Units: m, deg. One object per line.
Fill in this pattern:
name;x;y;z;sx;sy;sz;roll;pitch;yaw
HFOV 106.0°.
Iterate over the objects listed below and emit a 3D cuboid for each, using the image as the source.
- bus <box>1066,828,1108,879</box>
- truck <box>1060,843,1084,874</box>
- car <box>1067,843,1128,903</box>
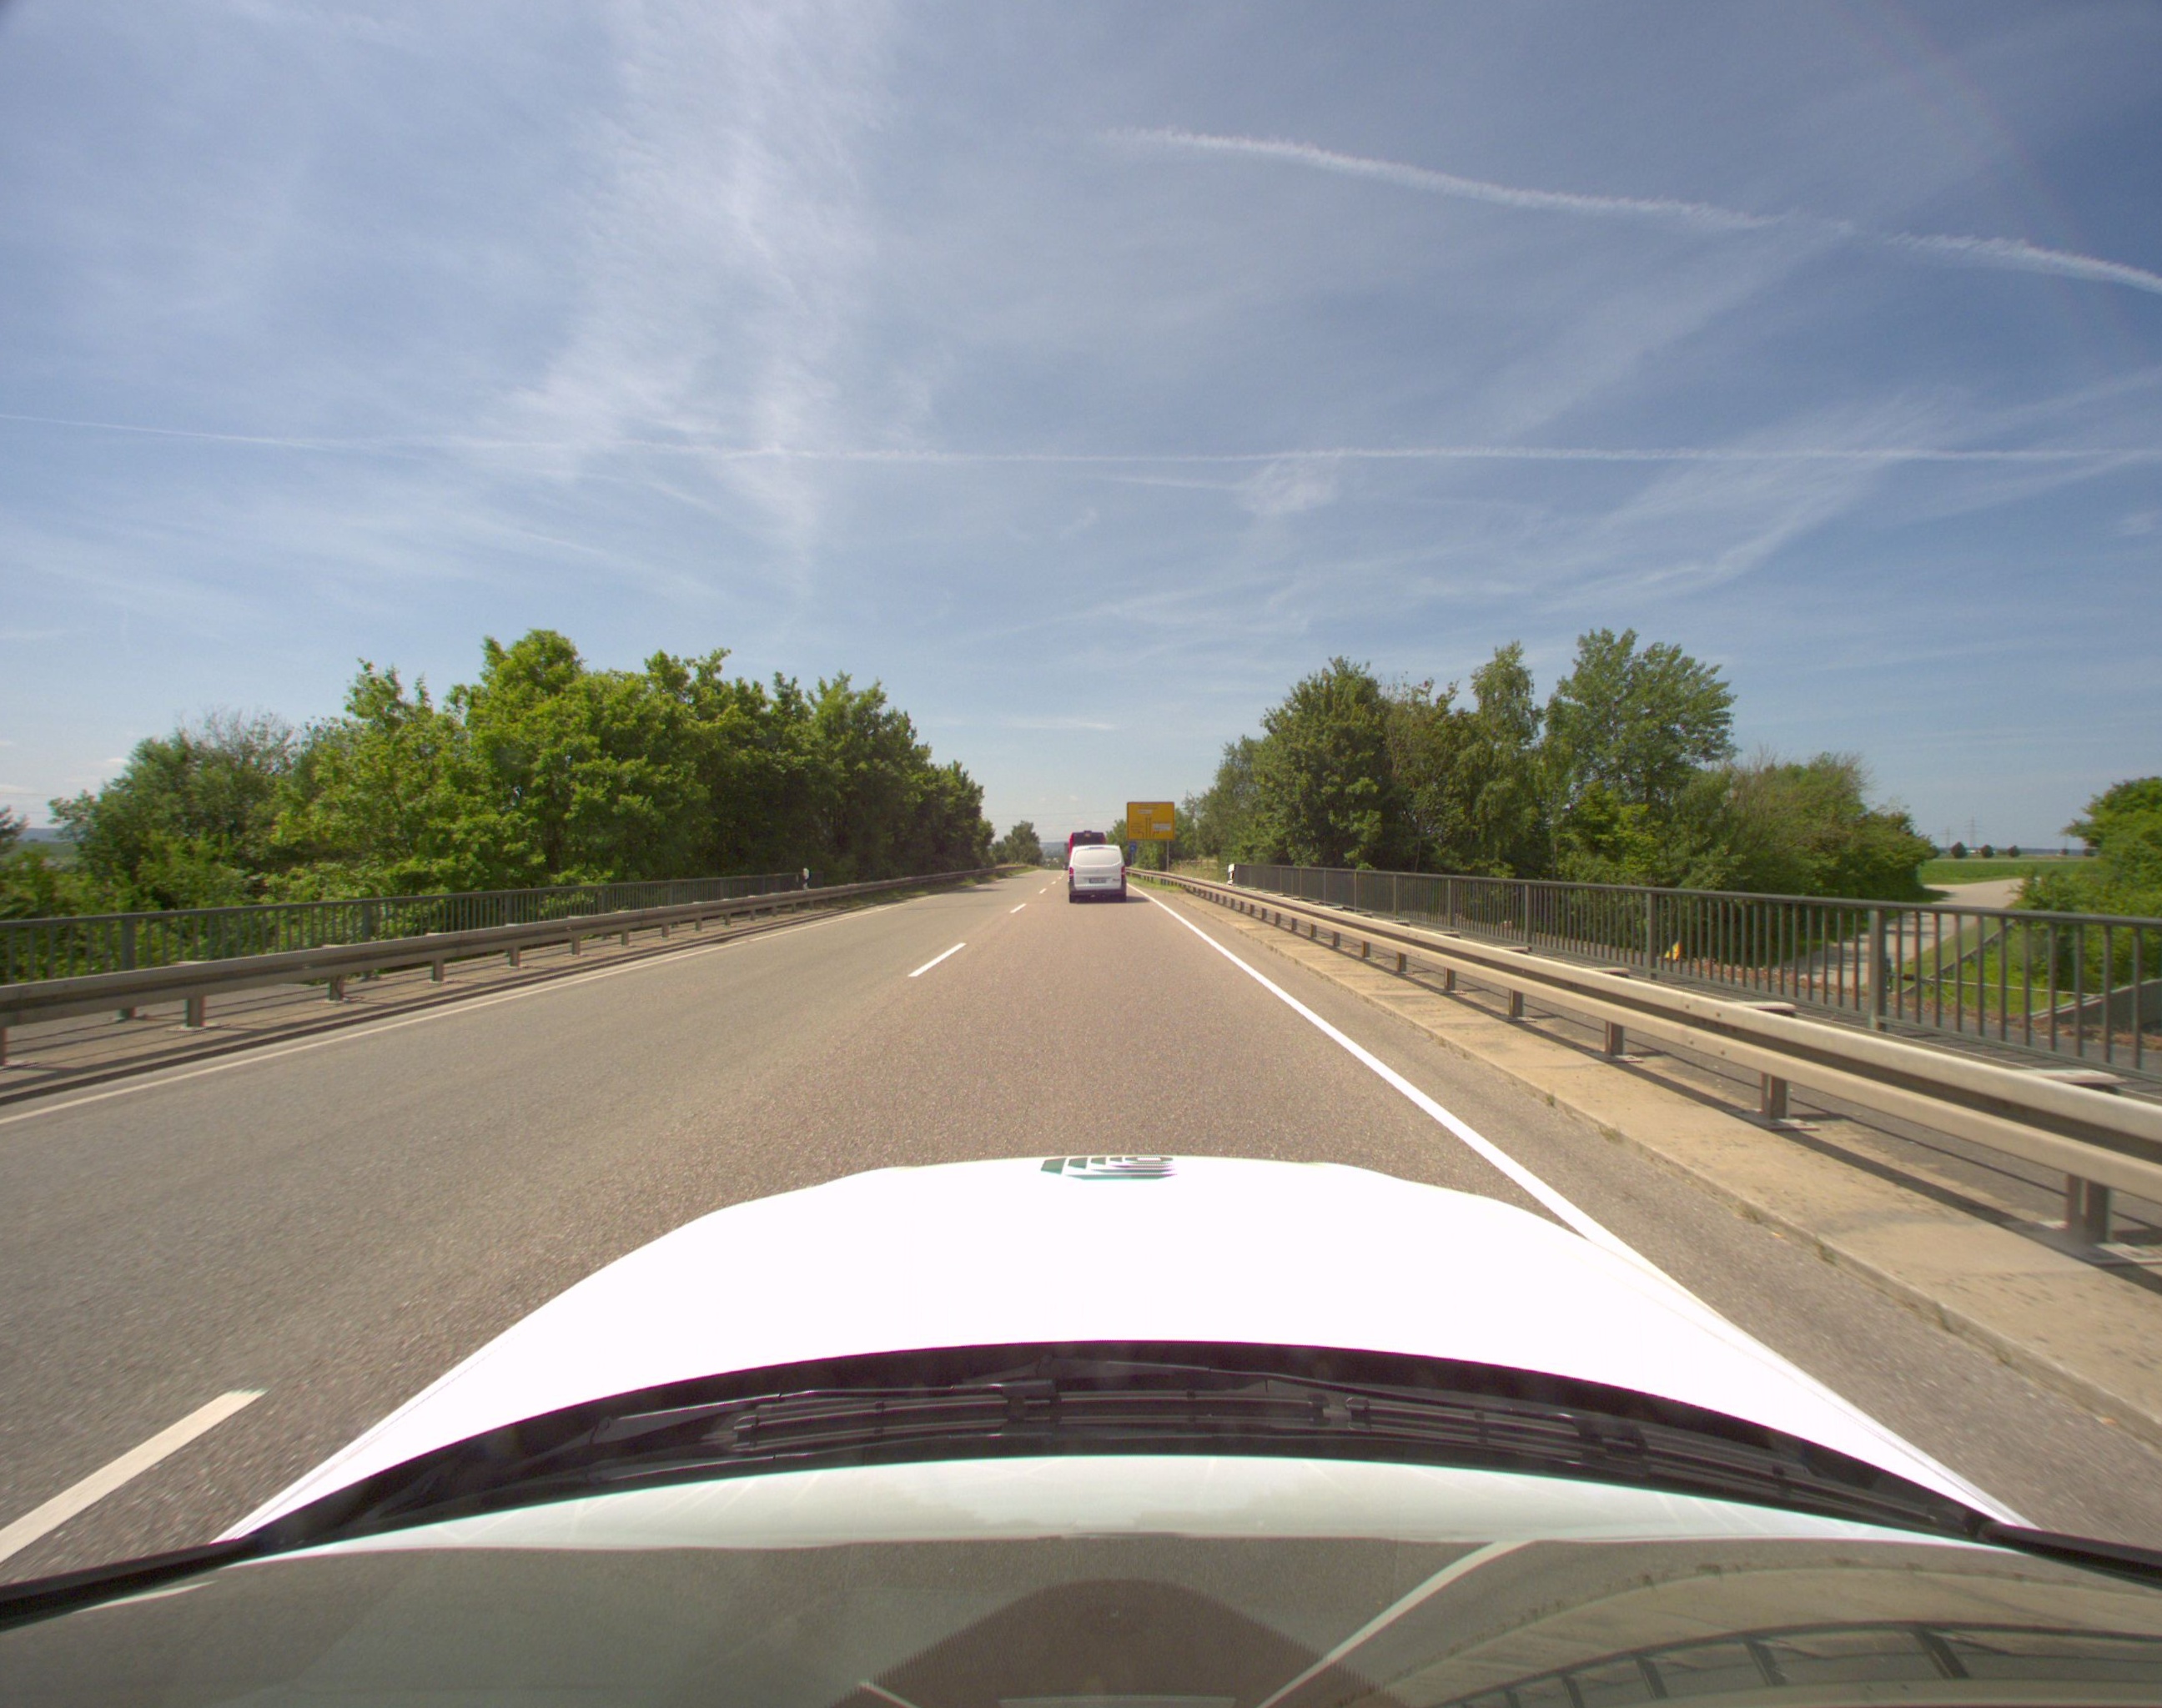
bus;0.265;-0.047;61.504;2.739;3.353;13.214;-1;0;-1
truck;-1.494;0.570;126.391;3.479;4.423;14.893;-1;0;-1
car;0.562;0.593;27.615;1.916;1.889;4.001;0;0;1
